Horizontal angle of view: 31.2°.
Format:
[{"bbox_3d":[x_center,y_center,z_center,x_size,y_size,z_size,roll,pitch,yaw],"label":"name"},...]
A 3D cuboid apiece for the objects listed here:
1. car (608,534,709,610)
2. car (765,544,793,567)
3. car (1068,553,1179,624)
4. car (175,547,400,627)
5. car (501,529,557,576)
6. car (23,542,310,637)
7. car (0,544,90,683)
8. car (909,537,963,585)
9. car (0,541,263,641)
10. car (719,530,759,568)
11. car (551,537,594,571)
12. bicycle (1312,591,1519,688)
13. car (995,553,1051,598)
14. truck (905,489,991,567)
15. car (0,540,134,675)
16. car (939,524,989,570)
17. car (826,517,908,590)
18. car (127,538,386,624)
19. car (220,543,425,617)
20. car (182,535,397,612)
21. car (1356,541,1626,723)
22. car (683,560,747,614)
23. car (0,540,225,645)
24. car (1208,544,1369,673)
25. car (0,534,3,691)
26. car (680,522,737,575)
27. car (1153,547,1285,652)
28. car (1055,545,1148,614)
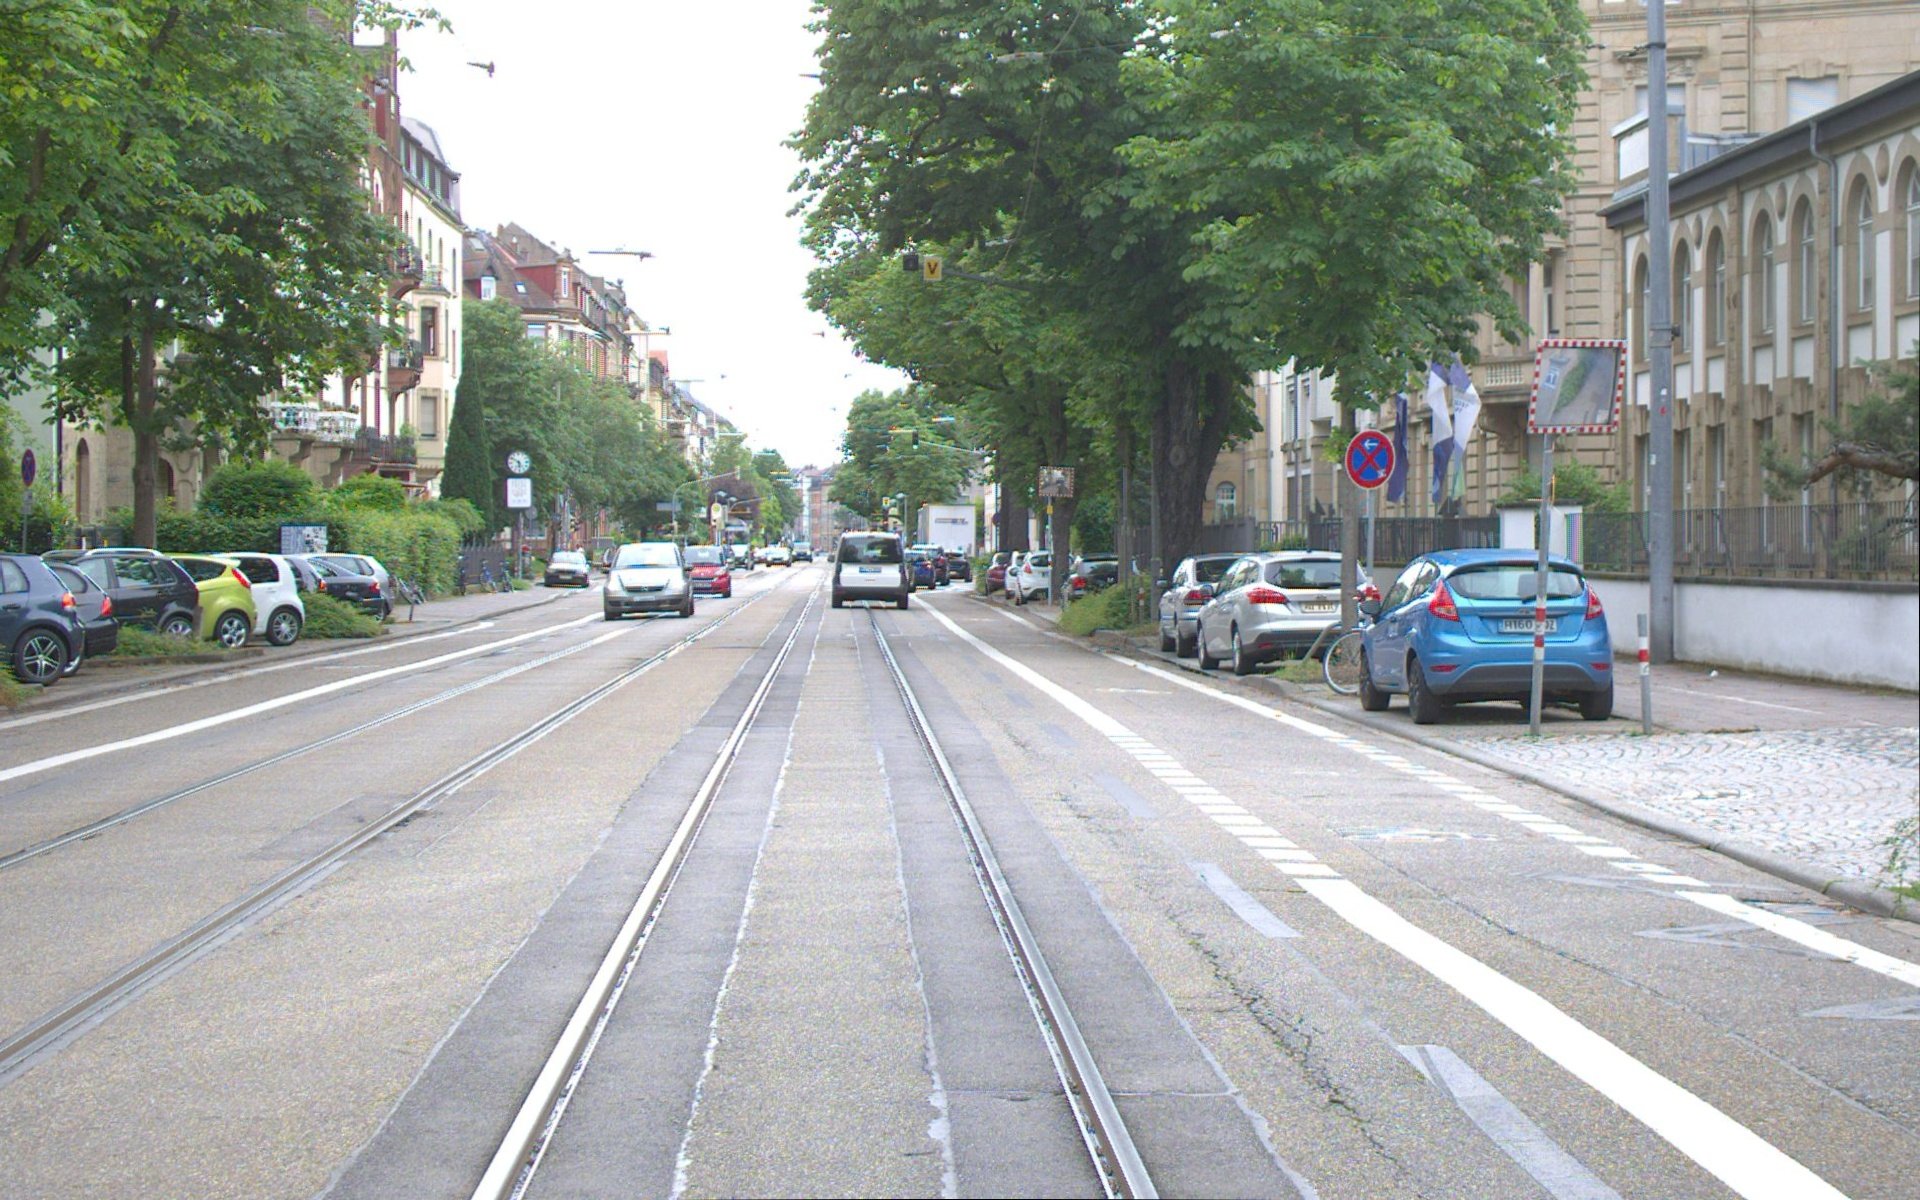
[{"bbox_3d":[-6.337,-0.611,72.491,1.900,1.525,3.755,-1,1,-2],"label":"car"},{"bbox_3d":[-13.376,-3.309,254.031,1.772,1.638,3.566,0,1,2],"label":"car"},{"bbox_3d":[2.975,-0.231,63.182,1.873,1.247,4.000,0,1,0],"label":"car"},{"bbox_3d":[-12.328,-0.234,63.009,3.707,1.381,1.700,1,1,-26],"label":"car"},{"bbox_3d":[-20.641,-2.274,164.709,2.177,2.199,4.219,0,1,-1],"label":"car"},{"bbox_3d":[-12.020,-0.158,52.219,1.699,1.347,3.958,2,1,43],"label":"car"},{"bbox_3d":[-11.486,0.124,36.031,1.699,1.449,4.335,2,1,43],"label":"car"},{"bbox_3d":[-0.916,-1.479,130.448,1.993,1.787,4.000,0,1,0],"label":"car"},{"bbox_3d":[-12.129,-0.135,49.162,1.699,1.347,3.958,2,1,43],"label":"car"},{"bbox_3d":[-13.135,-3.038,204.285,2.205,2.248,4.000,0,1,-2],"label":"car"},{"bbox_3d":[-15.728,-1.874,139.606,1.641,1.349,3.878,0,1,-5],"label":"car"},{"bbox_3d":[4.604,0.395,34.785,2.012,0.953,0.534,0,1,-5],"label":"bicycle"},{"bbox_3d":[2.023,-0.803,110.835,1.770,1.394,3.795,0,1,0],"label":"car"},{"bbox_3d":[-0.699,-3.838,183.756,3.807,4.015,10.220,0,1,-5],"label":"truck"},{"bbox_3d":[-11.807,0.065,39.341,1.699,1.530,4.335,2,1,43],"label":"car"},{"bbox_3d":[0.154,-2.388,154.351,1.993,2.007,4.001,0,1,-4],"label":"car"},{"bbox_3d":[-2.214,-1.101,82.577,1.812,1.702,3.699,1,0,1],"label":"car"},{"bbox_3d":[-11.713,-0.311,57.399,1.699,1.347,3.958,2,1,43],"label":"car"},{"bbox_3d":[-12.801,-0.403,69.029,3.707,1.381,1.700,1,1,-26],"label":"car"},{"bbox_3d":[-12.847,-0.513,65.843,3.707,1.381,1.700,1,1,-26],"label":"car"},{"bbox_3d":[4.558,0.234,29.937,1.674,1.455,3.433,1,1,-2],"label":"car"},{"bbox_3d":[-7.004,-0.376,98.613,1.676,1.517,2.782,1,0,-1],"label":"car"},{"bbox_3d":[-11.980,-0.108,45.876,1.699,1.347,3.958,2,1,43],"label":"car"},{"bbox_3d":[3.968,0.074,41.968,1.475,1.476,3.566,1,1,-2],"label":"car"},{"bbox_3d":[-11.507,0.098,32.869,1.698,1.550,4.336,2,1,39],"label":"car"},{"bbox_3d":[-11.669,-2.401,159.949,2.205,2.409,4.000,0,1,2],"label":"car"},{"bbox_3d":[3.655,-0.032,49.030,1.475,1.424,3.566,0,1,-2],"label":"car"},{"bbox_3d":[2.926,-0.443,71.572,1.791,1.394,3.795,0,1,0],"label":"car"}]
